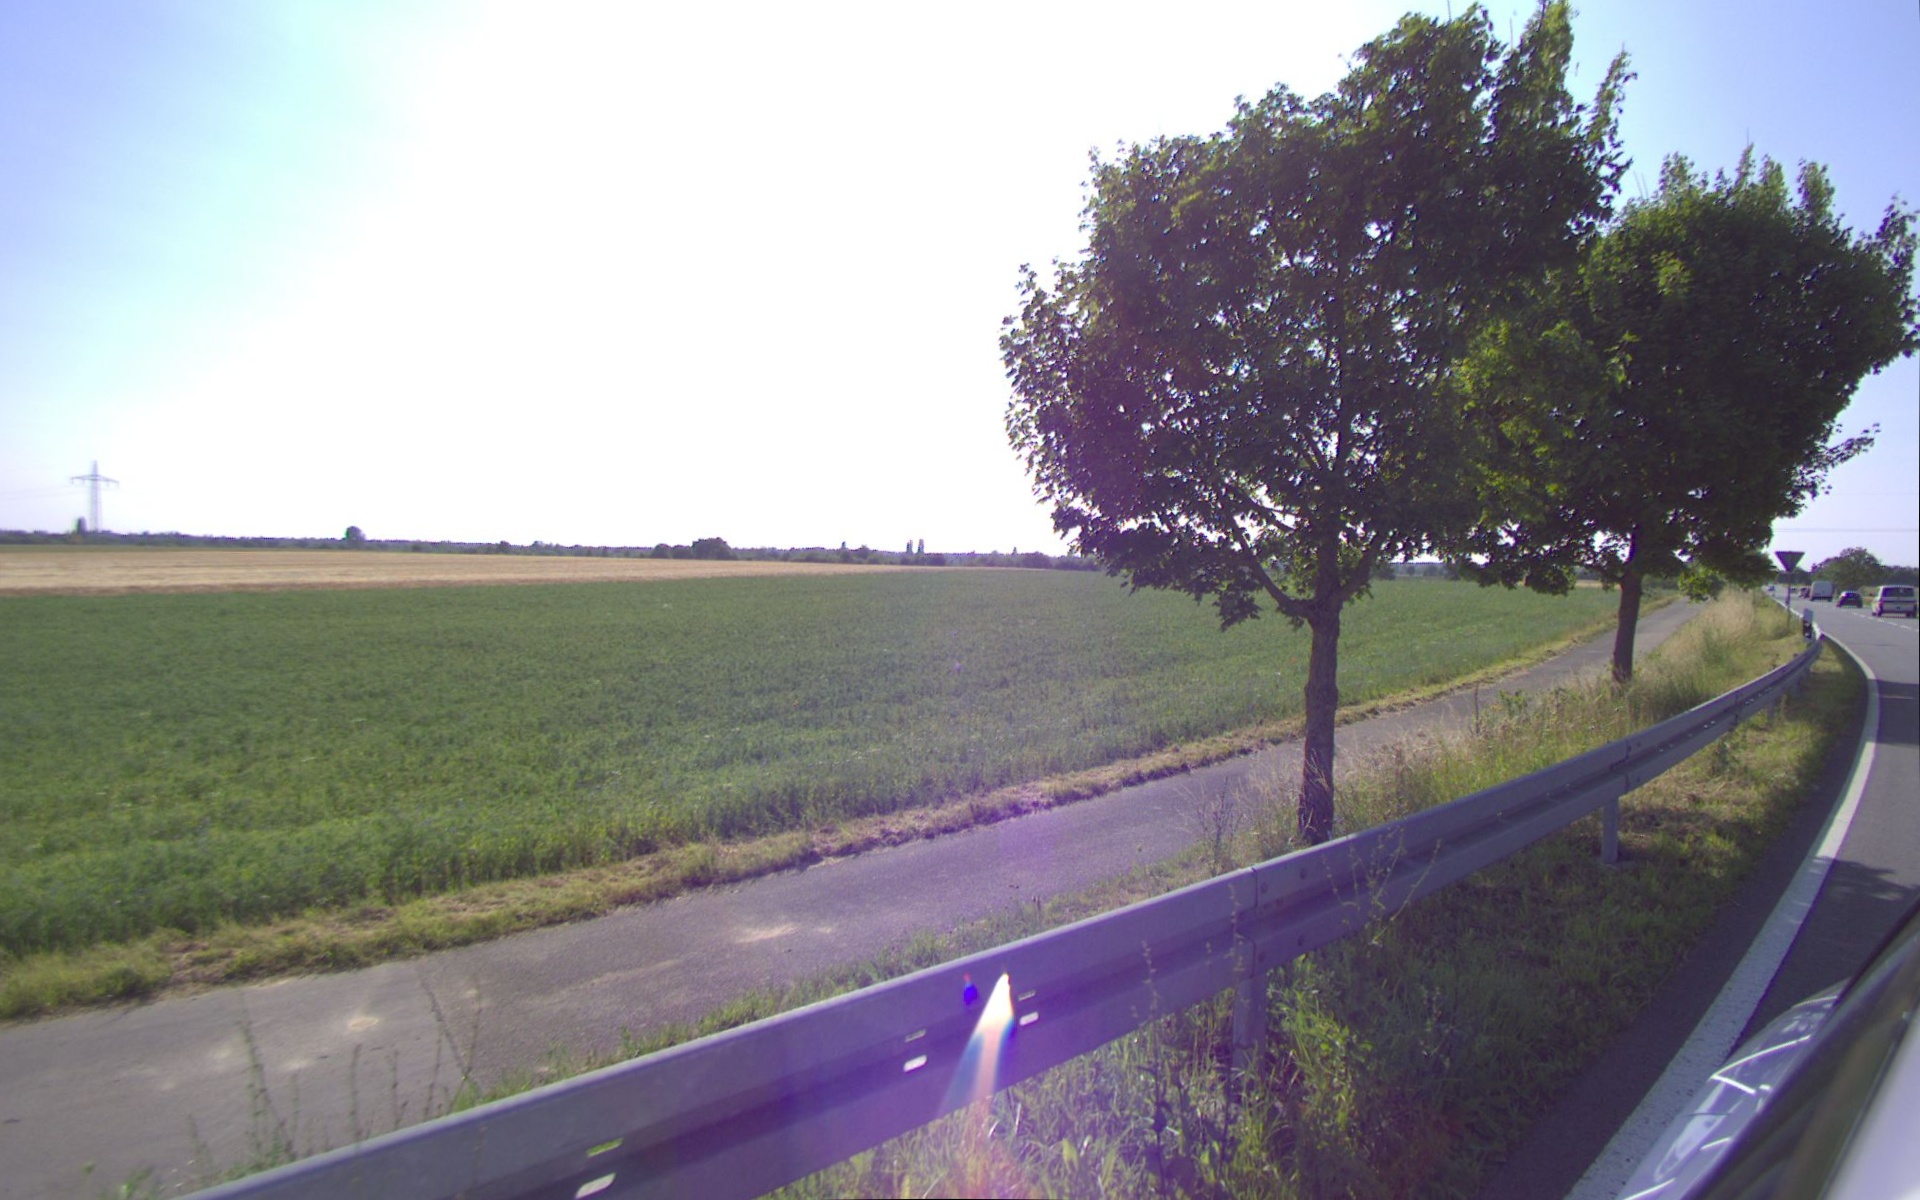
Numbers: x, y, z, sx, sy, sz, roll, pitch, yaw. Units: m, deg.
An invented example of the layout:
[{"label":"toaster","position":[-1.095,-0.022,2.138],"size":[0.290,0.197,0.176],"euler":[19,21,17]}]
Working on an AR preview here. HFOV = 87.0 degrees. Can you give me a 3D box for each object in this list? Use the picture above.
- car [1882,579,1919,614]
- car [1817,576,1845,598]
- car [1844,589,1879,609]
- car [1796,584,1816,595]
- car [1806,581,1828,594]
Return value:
[{"label":"car","position":[58.255,-0.258,62.299],"size":[1.909,2.038,4.717],"euler":[0,2,39]},{"label":"car","position":[109.345,-1.702,127.110],"size":[2.394,2.607,5.302],"euler":[2,3,38]},{"label":"car","position":[82.287,-0.100,92.407],"size":[2.005,1.604,4.762],"euler":[2,3,38]},{"label":"car","position":[146.867,-1.833,175.713],"size":[2.394,1.709,5.302],"euler":[2,3,38]},{"label":"car","position":[132.063,-1.888,155.964],"size":[2.394,1.709,5.303],"euler":[2,5,38]}]
